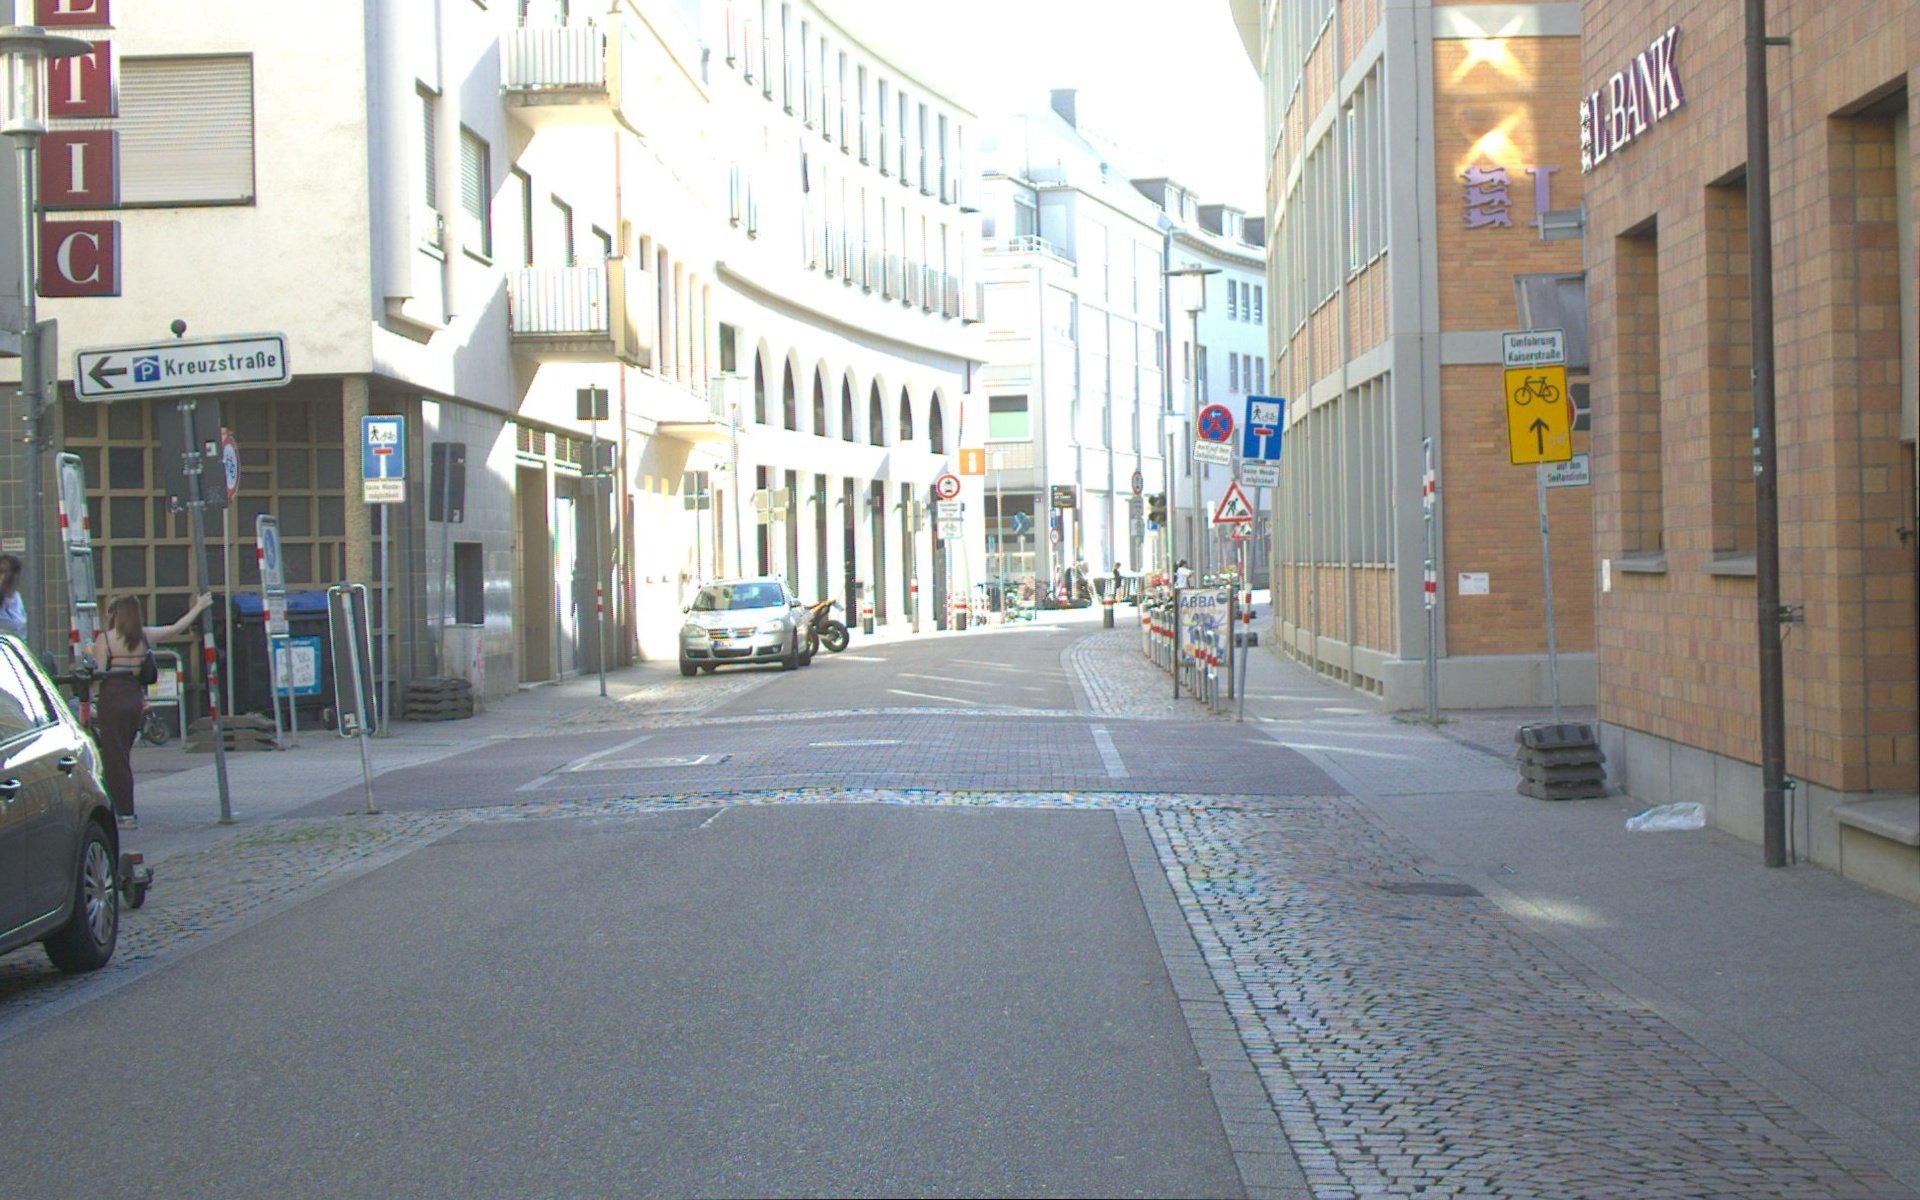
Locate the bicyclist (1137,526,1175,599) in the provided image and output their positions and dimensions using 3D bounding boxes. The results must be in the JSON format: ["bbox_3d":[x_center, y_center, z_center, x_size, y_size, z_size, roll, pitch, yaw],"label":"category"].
[{"bbox_3d":[6.433,-1.234,112.743,1.091,2.381,0.741,1,0,14],"label":"bicyclist"}]

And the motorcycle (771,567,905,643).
[{"bbox_3d":[-2.258,0.089,63.958,2.391,1.312,0.862,-2,1,1],"label":"motorcycle"}]

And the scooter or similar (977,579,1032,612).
[{"bbox_3d":[1.284,-0.141,98.896,0.526,0.925,2.224,0,1,31],"label":"scooter or similar"}]

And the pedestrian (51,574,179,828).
[{"bbox_3d":[-5.520,0.649,22.461,0.645,1.620,0.457,-1,1,-40],"label":"pedestrian"}]

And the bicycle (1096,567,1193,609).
[{"bbox_3d":[6.045,-0.397,112.834,3.090,1.349,0.701,1,0,14],"label":"bicycle"}]

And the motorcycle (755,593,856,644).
[{"bbox_3d":[-2.715,0.324,60.306,1.691,0.856,0.594,1,0,6],"label":"motorcycle"}]

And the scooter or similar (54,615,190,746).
[{"bbox_3d":[-8.129,0.777,33.375,1.157,1.202,0.480,-2,1,2],"label":"scooter or similar"}]

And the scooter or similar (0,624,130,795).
[{"bbox_3d":[-6.269,0.755,23.979,0.789,1.157,0.635,1,0,-28],"label":"scooter or similar"}]

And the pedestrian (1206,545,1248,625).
[{"bbox_3d":[6.253,-0.346,80.574,0.659,1.862,0.761,1,0,-29],"label":"pedestrian"}]

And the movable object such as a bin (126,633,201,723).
[{"bbox_3d":[-8.114,0.789,35.031,0.525,0.899,0.536,1,0,44],"label":"movable object such as a bin"}]

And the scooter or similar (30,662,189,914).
[{"bbox_3d":[-4.304,0.935,17.364,0.412,1.194,1.121,-6,1,-28],"label":"scooter or similar"}]

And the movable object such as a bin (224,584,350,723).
[{"bbox_3d":[-6.999,0.547,35.734,0.884,1.415,0.932,1,0,44],"label":"movable object such as a bin"}]

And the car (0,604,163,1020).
[{"bbox_3d":[-4.292,0.821,12.624,1.648,1.455,3.999,-4,1,1],"label":"car"}]

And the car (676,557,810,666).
[{"bbox_3d":[-3.296,0.146,52.772,1.736,1.600,3.532,0,1,2],"label":"car"}]

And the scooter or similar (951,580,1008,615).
[{"bbox_3d":[0.550,-0.067,95.383,0.526,0.925,2.224,0,1,31],"label":"scooter or similar"}]

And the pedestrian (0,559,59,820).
[{"bbox_3d":[-6.457,0.593,23.200,0.448,1.732,0.552,-1,1,24],"label":"pedestrian"}]

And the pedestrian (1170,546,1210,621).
[{"bbox_3d":[5.739,-0.404,85.917,0.659,1.862,0.786,1,0,-29],"label":"pedestrian"}]
